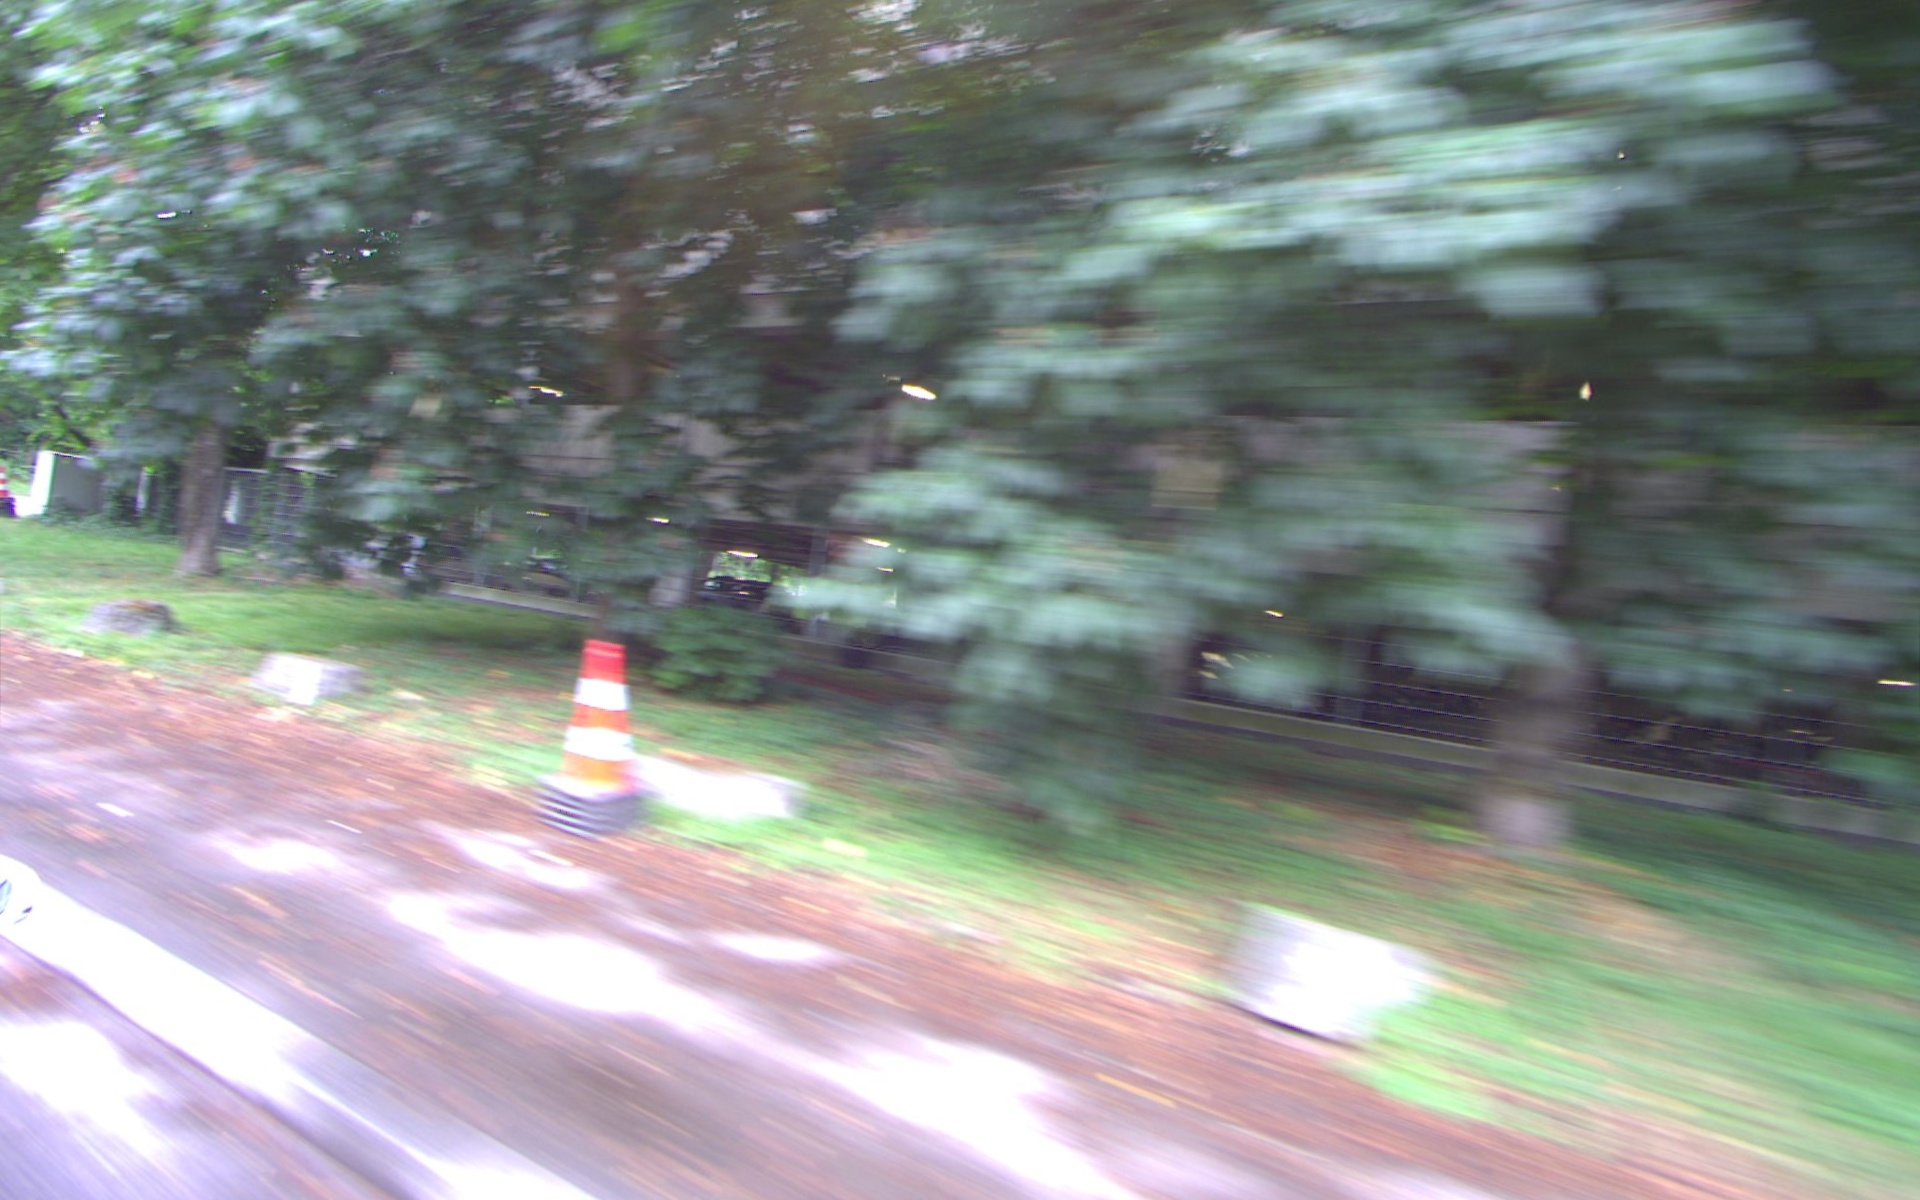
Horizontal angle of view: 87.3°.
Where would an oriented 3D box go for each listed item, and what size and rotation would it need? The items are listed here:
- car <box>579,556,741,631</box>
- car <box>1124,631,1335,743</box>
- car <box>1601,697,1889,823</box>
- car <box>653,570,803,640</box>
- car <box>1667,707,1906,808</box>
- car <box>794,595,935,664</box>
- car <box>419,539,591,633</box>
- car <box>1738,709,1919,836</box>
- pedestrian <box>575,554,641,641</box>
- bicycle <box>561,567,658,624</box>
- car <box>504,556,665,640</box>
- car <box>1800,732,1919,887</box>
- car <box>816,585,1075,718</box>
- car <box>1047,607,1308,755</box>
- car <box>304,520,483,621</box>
[{"bbox_3d":[-8.360,-0.194,28.001,3.932,1.569,1.999,5,-3,29],"label":"car"},{"bbox_3d":[5.344,1.700,19.980,3.637,1.699,1.722,5,-3,28],"label":"car"},{"bbox_3d":[13.680,2.751,17.827,3.637,1.563,1.722,5,-3,28],"label":"car"},{"bbox_3d":[-6.926,0.137,30.006,3.932,1.569,1.999,5,-3,29],"label":"car"},{"bbox_3d":[17.744,3.345,21.830,3.638,1.563,1.721,5,-3,29],"label":"car"},{"bbox_3d":[-3.499,1.061,36.567,4.655,1.855,1.924,7,-2,30],"label":"car"},{"bbox_3d":[-10.603,-0.337,23.408,3.705,1.727,1.584,5,-3,29],"label":"car"},{"bbox_3d":[14.096,2.645,14.940,3.637,1.563,1.722,5,-3,28],"label":"car"},{"bbox_3d":[-5.837,-0.037,16.688,0.626,1.332,0.642,6,-2,28],"label":"pedestrian"},{"bbox_3d":[-5.669,-0.079,16.275,1.468,0.745,0.448,6,-2,21],"label":"bicycle"},{"bbox_3d":[-9.558,-0.066,25.612,3.656,1.682,1.734,5,-3,29],"label":"car"},{"bbox_3d":[12.917,2.744,12.228,3.792,1.727,1.590,5,-3,29],"label":"car"},{"bbox_3d":[-0.317,1.009,19.979,4.594,2.036,1.999,5,-3,29],"label":"car"},{"bbox_3d":[3.830,1.400,17.795,3.933,2.036,1.998,5,-3,30],"label":"car"},{"bbox_3d":[-12.128,-0.647,21.509,3.656,1.727,1.484,5,-3,29],"label":"car"}]
